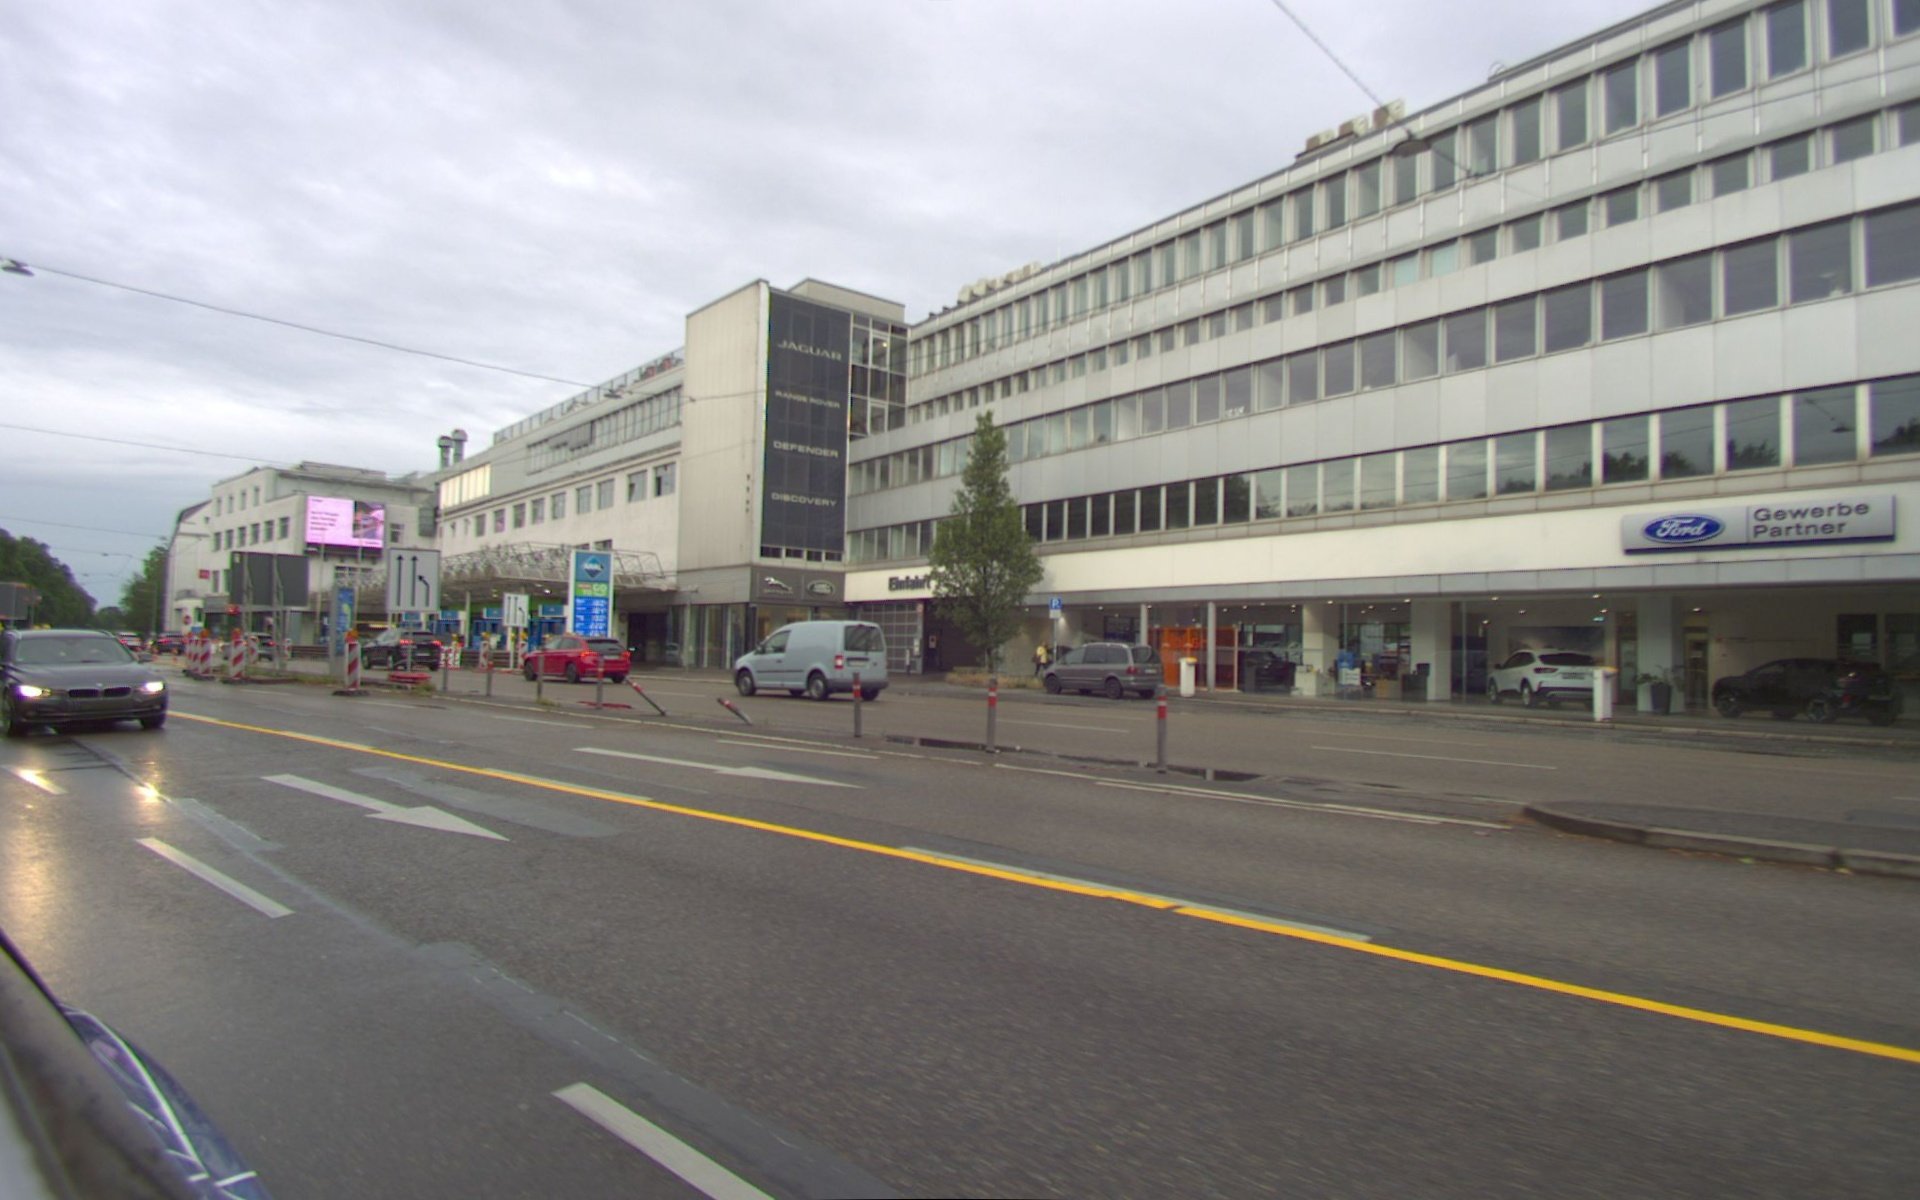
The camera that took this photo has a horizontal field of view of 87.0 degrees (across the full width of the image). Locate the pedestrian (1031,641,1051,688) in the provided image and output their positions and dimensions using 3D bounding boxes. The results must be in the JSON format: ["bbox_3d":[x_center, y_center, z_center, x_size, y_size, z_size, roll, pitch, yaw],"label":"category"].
[{"bbox_3d":[3.105,2.470,38.636,0.699,1.734,0.667,1,-4,8],"label":"pedestrian"}]

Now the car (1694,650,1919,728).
[{"bbox_3d":[19.364,1.955,22.893,1.966,1.586,4.010,4,-5,-33],"label":"car"}]

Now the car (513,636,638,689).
[{"bbox_3d":[-12.044,1.933,31.579,4.372,1.514,1.810,-2,-5,42],"label":"car"}]

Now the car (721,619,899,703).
[{"bbox_3d":[-3.591,1.419,23.785,4.299,1.799,1.715,-2,-5,41],"label":"car"}]

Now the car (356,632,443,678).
[{"bbox_3d":[-23.003,2.234,41.456,4.606,1.751,1.824,-2,-4,44],"label":"car"}]

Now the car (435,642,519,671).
[{"bbox_3d":[-31.151,3.685,65.421,4.409,1.692,2.017,3,-4,-7],"label":"car"}]

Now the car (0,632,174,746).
[{"bbox_3d":[-13.470,1.228,15.095,4.171,1.461,1.742,-1,-3,38],"label":"car"}]

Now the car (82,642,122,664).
[{"bbox_3d":[-58.073,3.576,68.463,4.117,1.365,1.669,-2,-5,45],"label":"car"}]

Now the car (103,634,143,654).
[{"bbox_3d":[-74.222,3.876,89.718,4.829,1.720,1.959,-2,-4,41],"label":"car"}]

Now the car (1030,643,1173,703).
[{"bbox_3d":[4.583,2.368,33.374,1.824,1.792,4.739,5,-5,-37],"label":"car"}]

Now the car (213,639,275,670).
[{"bbox_3d":[-38.769,2.933,54.775,4.300,1.570,1.788,-2,-4,43],"label":"car"}]

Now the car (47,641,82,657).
[{"bbox_3d":[-80.197,4.370,90.614,4.287,1.415,1.717,-2,-3,41],"label":"car"}]

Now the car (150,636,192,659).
[{"bbox_3d":[-55.601,3.345,71.302,4.002,1.525,1.732,-1,-5,45],"label":"car"}]

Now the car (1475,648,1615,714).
[{"bbox_3d":[16.393,2.274,28.637,1.832,1.664,4.375,1,-4,7],"label":"car"}]
